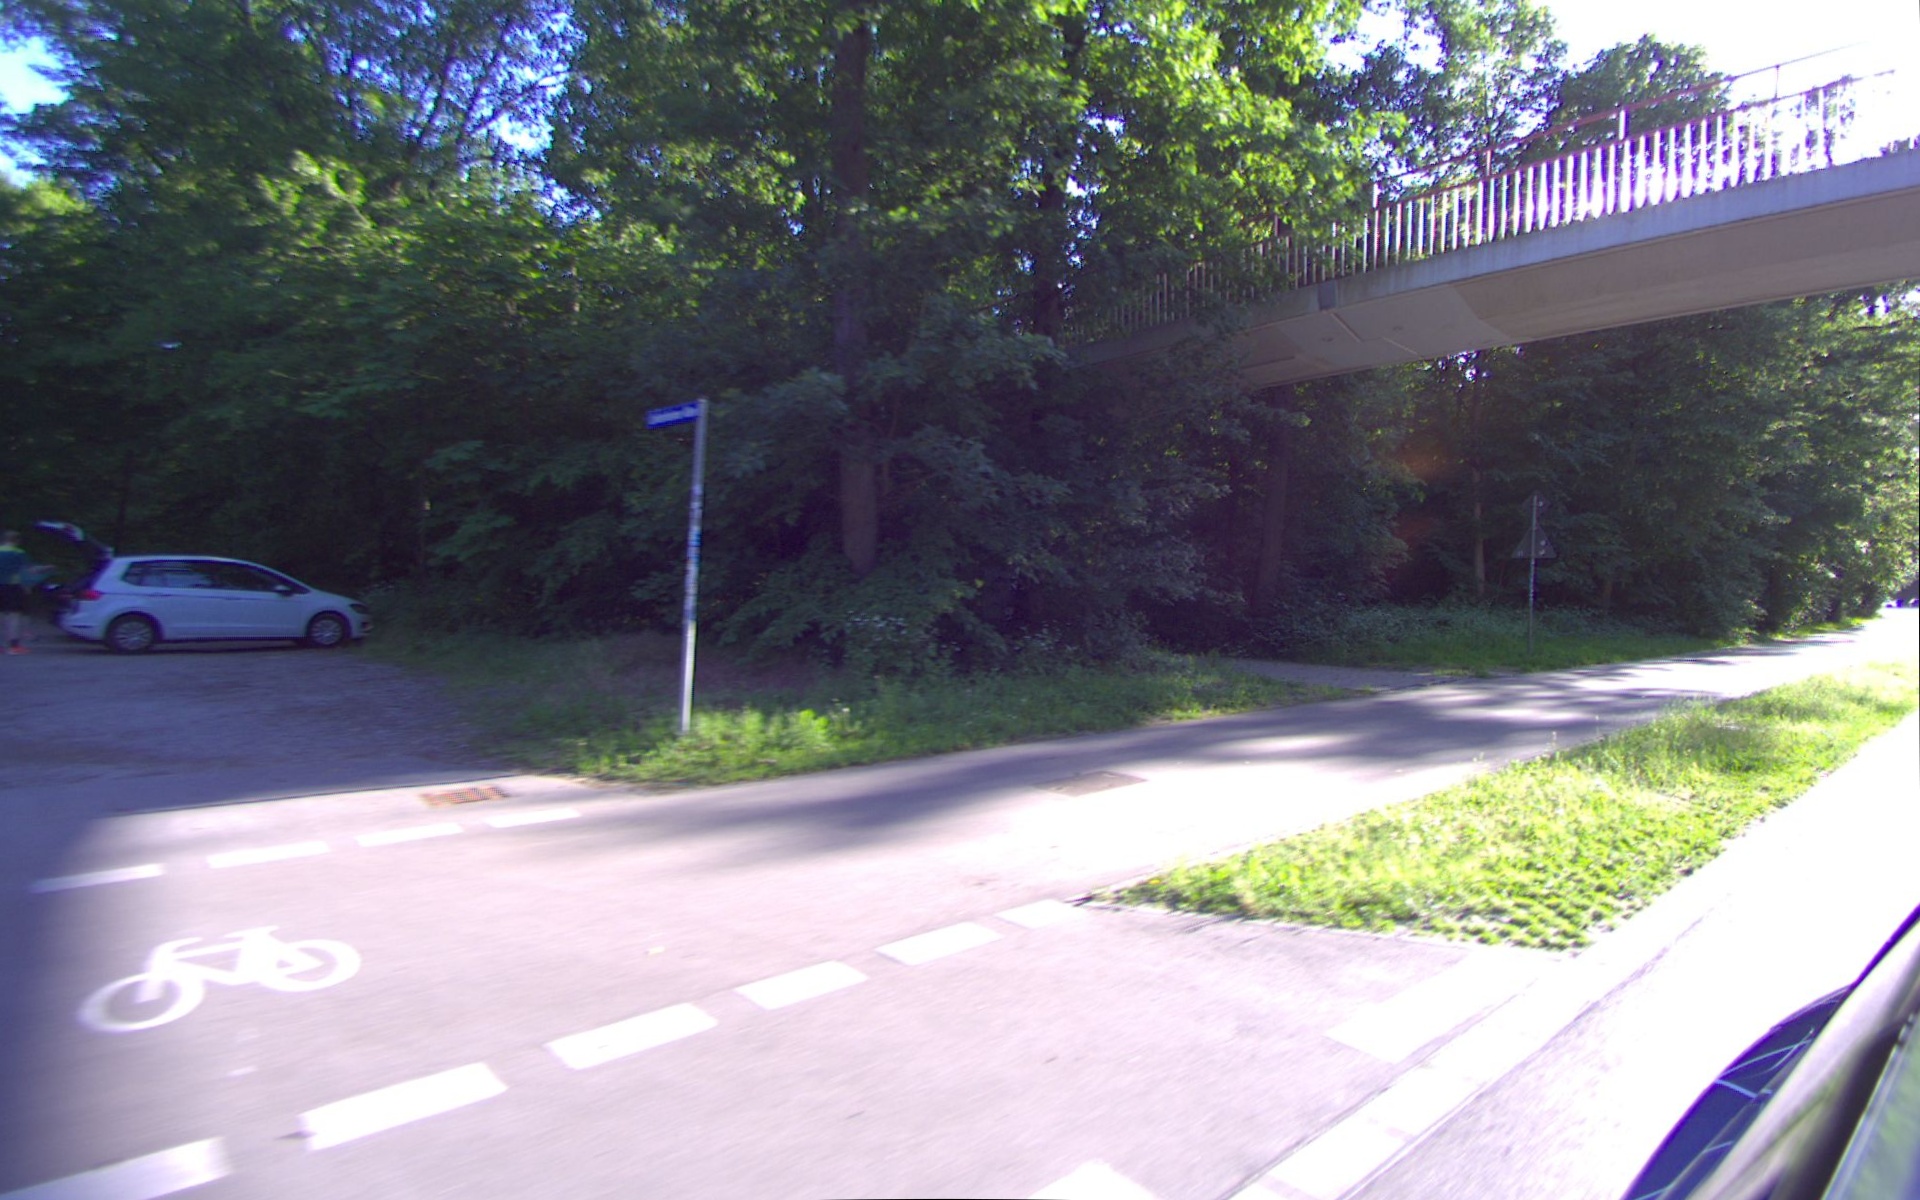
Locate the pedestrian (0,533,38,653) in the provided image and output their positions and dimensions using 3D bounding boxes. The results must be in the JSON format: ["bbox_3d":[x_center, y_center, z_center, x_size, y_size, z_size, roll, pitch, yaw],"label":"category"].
[{"bbox_3d":[-14.529,-0.117,15.363,0.664,1.788,0.750,2,1,43],"label":"pedestrian"}]

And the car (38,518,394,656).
[{"bbox_3d":[-12.613,-0.229,17.395,1.993,2.039,4.681,-1,1,44],"label":"car"}]

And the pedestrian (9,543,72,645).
[{"bbox_3d":[-16.501,-0.116,18.166,0.663,1.788,0.751,2,1,40],"label":"pedestrian"}]
